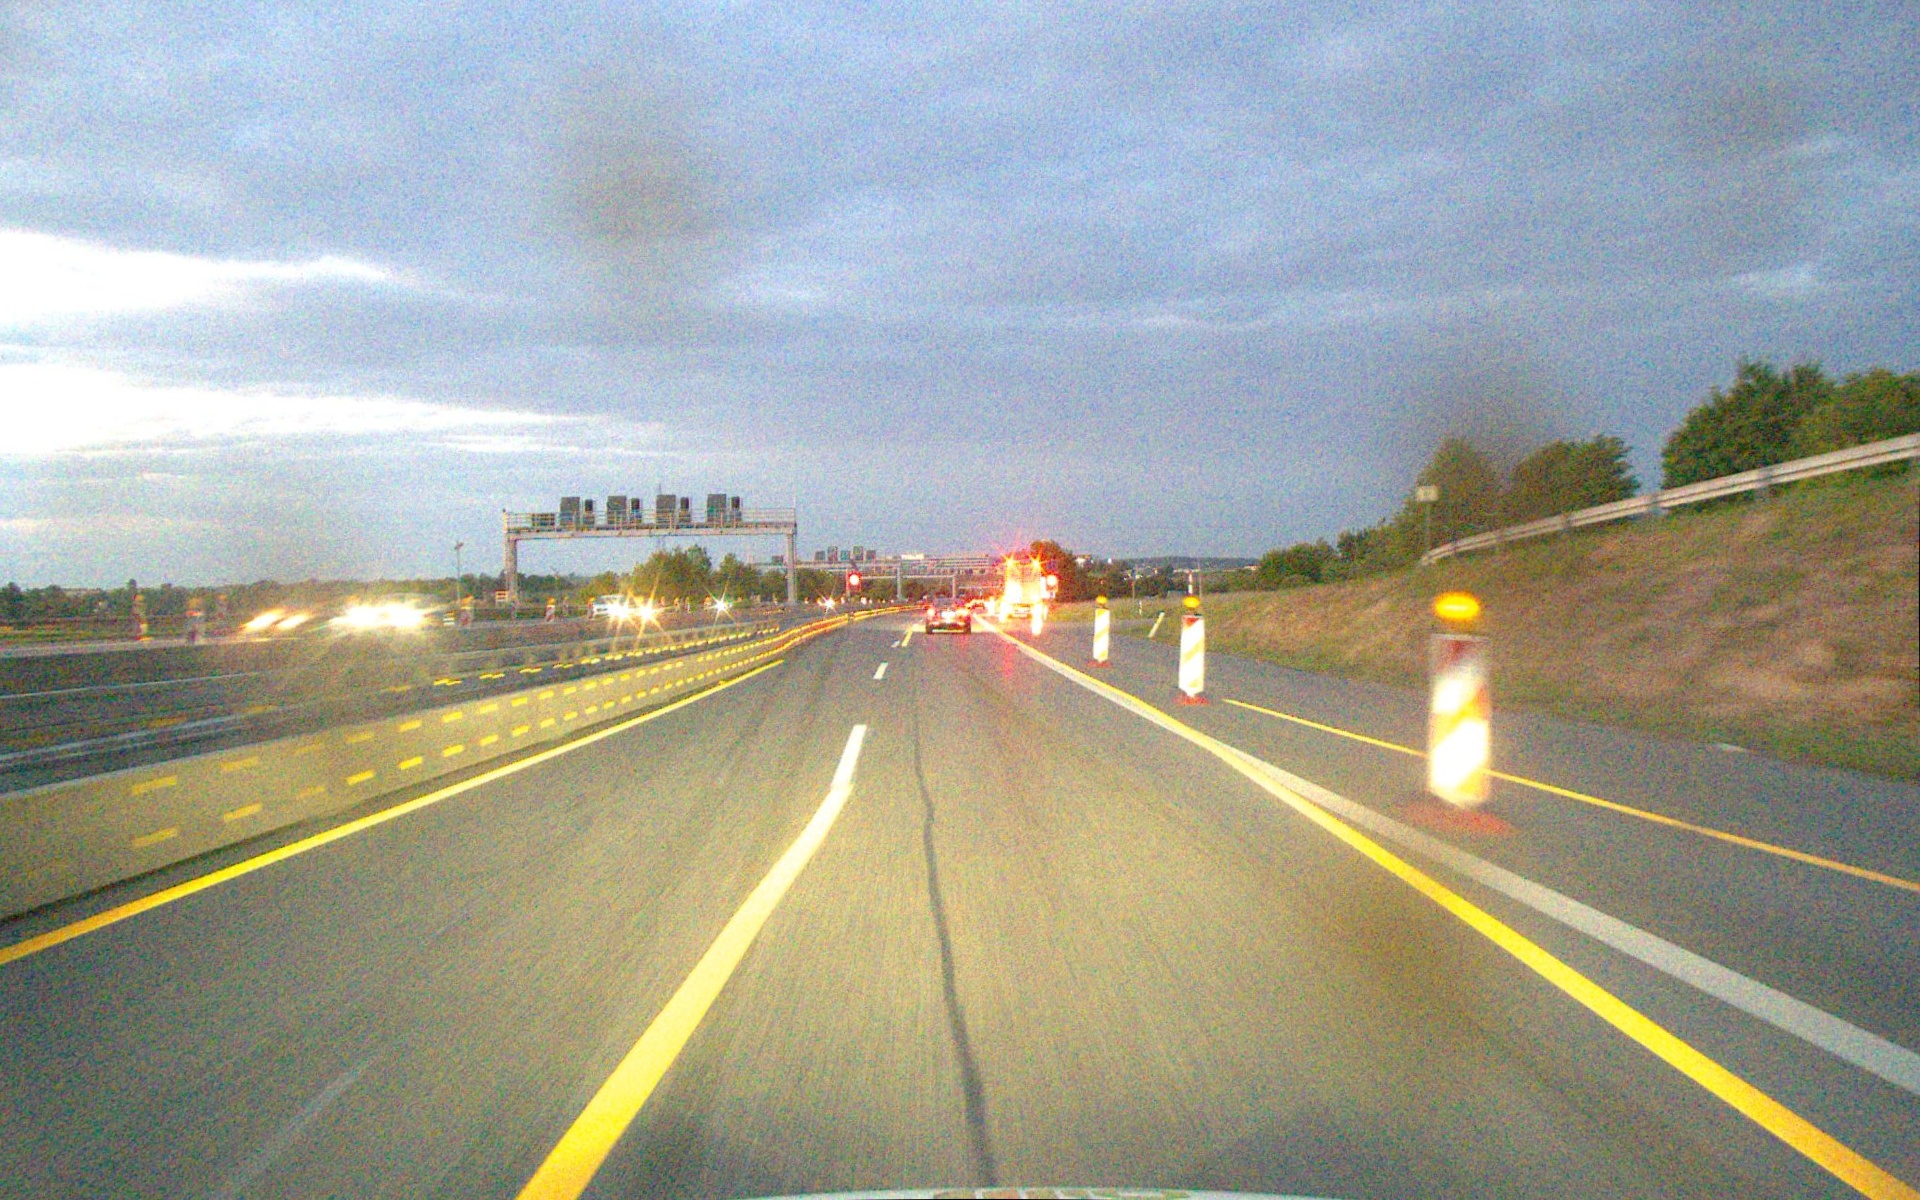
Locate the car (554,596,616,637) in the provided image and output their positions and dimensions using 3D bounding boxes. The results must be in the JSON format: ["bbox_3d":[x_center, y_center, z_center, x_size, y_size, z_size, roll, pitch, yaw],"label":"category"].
[{"bbox_3d":[-17.483,0.751,77.282,1.953,1.860,3.999,1,0,-1],"label":"car"}]

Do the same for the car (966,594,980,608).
[{"bbox_3d":[1.915,0.187,248.091,1.953,2.049,3.999,1,0,-1],"label":"car"}]

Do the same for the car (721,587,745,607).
[{"bbox_3d":[-22.914,-0.312,167.232,1.953,2.049,3.999,0,0,-1],"label":"car"}]

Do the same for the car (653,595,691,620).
[{"bbox_3d":[-17.940,0.444,103.052,1.710,1.478,3.999,0,0,-1],"label":"car"}]

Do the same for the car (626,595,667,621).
[{"bbox_3d":[-18.356,0.428,96.915,1.710,1.478,3.999,0,0,-1],"label":"car"}]

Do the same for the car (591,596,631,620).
[{"bbox_3d":[-21.611,0.481,102.453,1.543,1.455,4.424,1,0,0],"label":"car"}]

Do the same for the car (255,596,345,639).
[{"bbox_3d":[-25.582,0.652,64.263,1.727,1.575,4.424,1,0,0],"label":"car"}]

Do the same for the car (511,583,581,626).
[{"bbox_3d":[-17.489,0.188,70.091,1.953,1.744,3.999,1,0,-1],"label":"car"}]

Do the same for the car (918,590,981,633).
[{"bbox_3d":[-0.451,0.434,67.374,2.221,1.649,3.996,1,0,-5],"label":"car"}]

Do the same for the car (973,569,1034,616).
[{"bbox_3d":[3.320,-0.595,129.017,3.537,3.455,8.001,1,0,-7],"label":"car"}]
